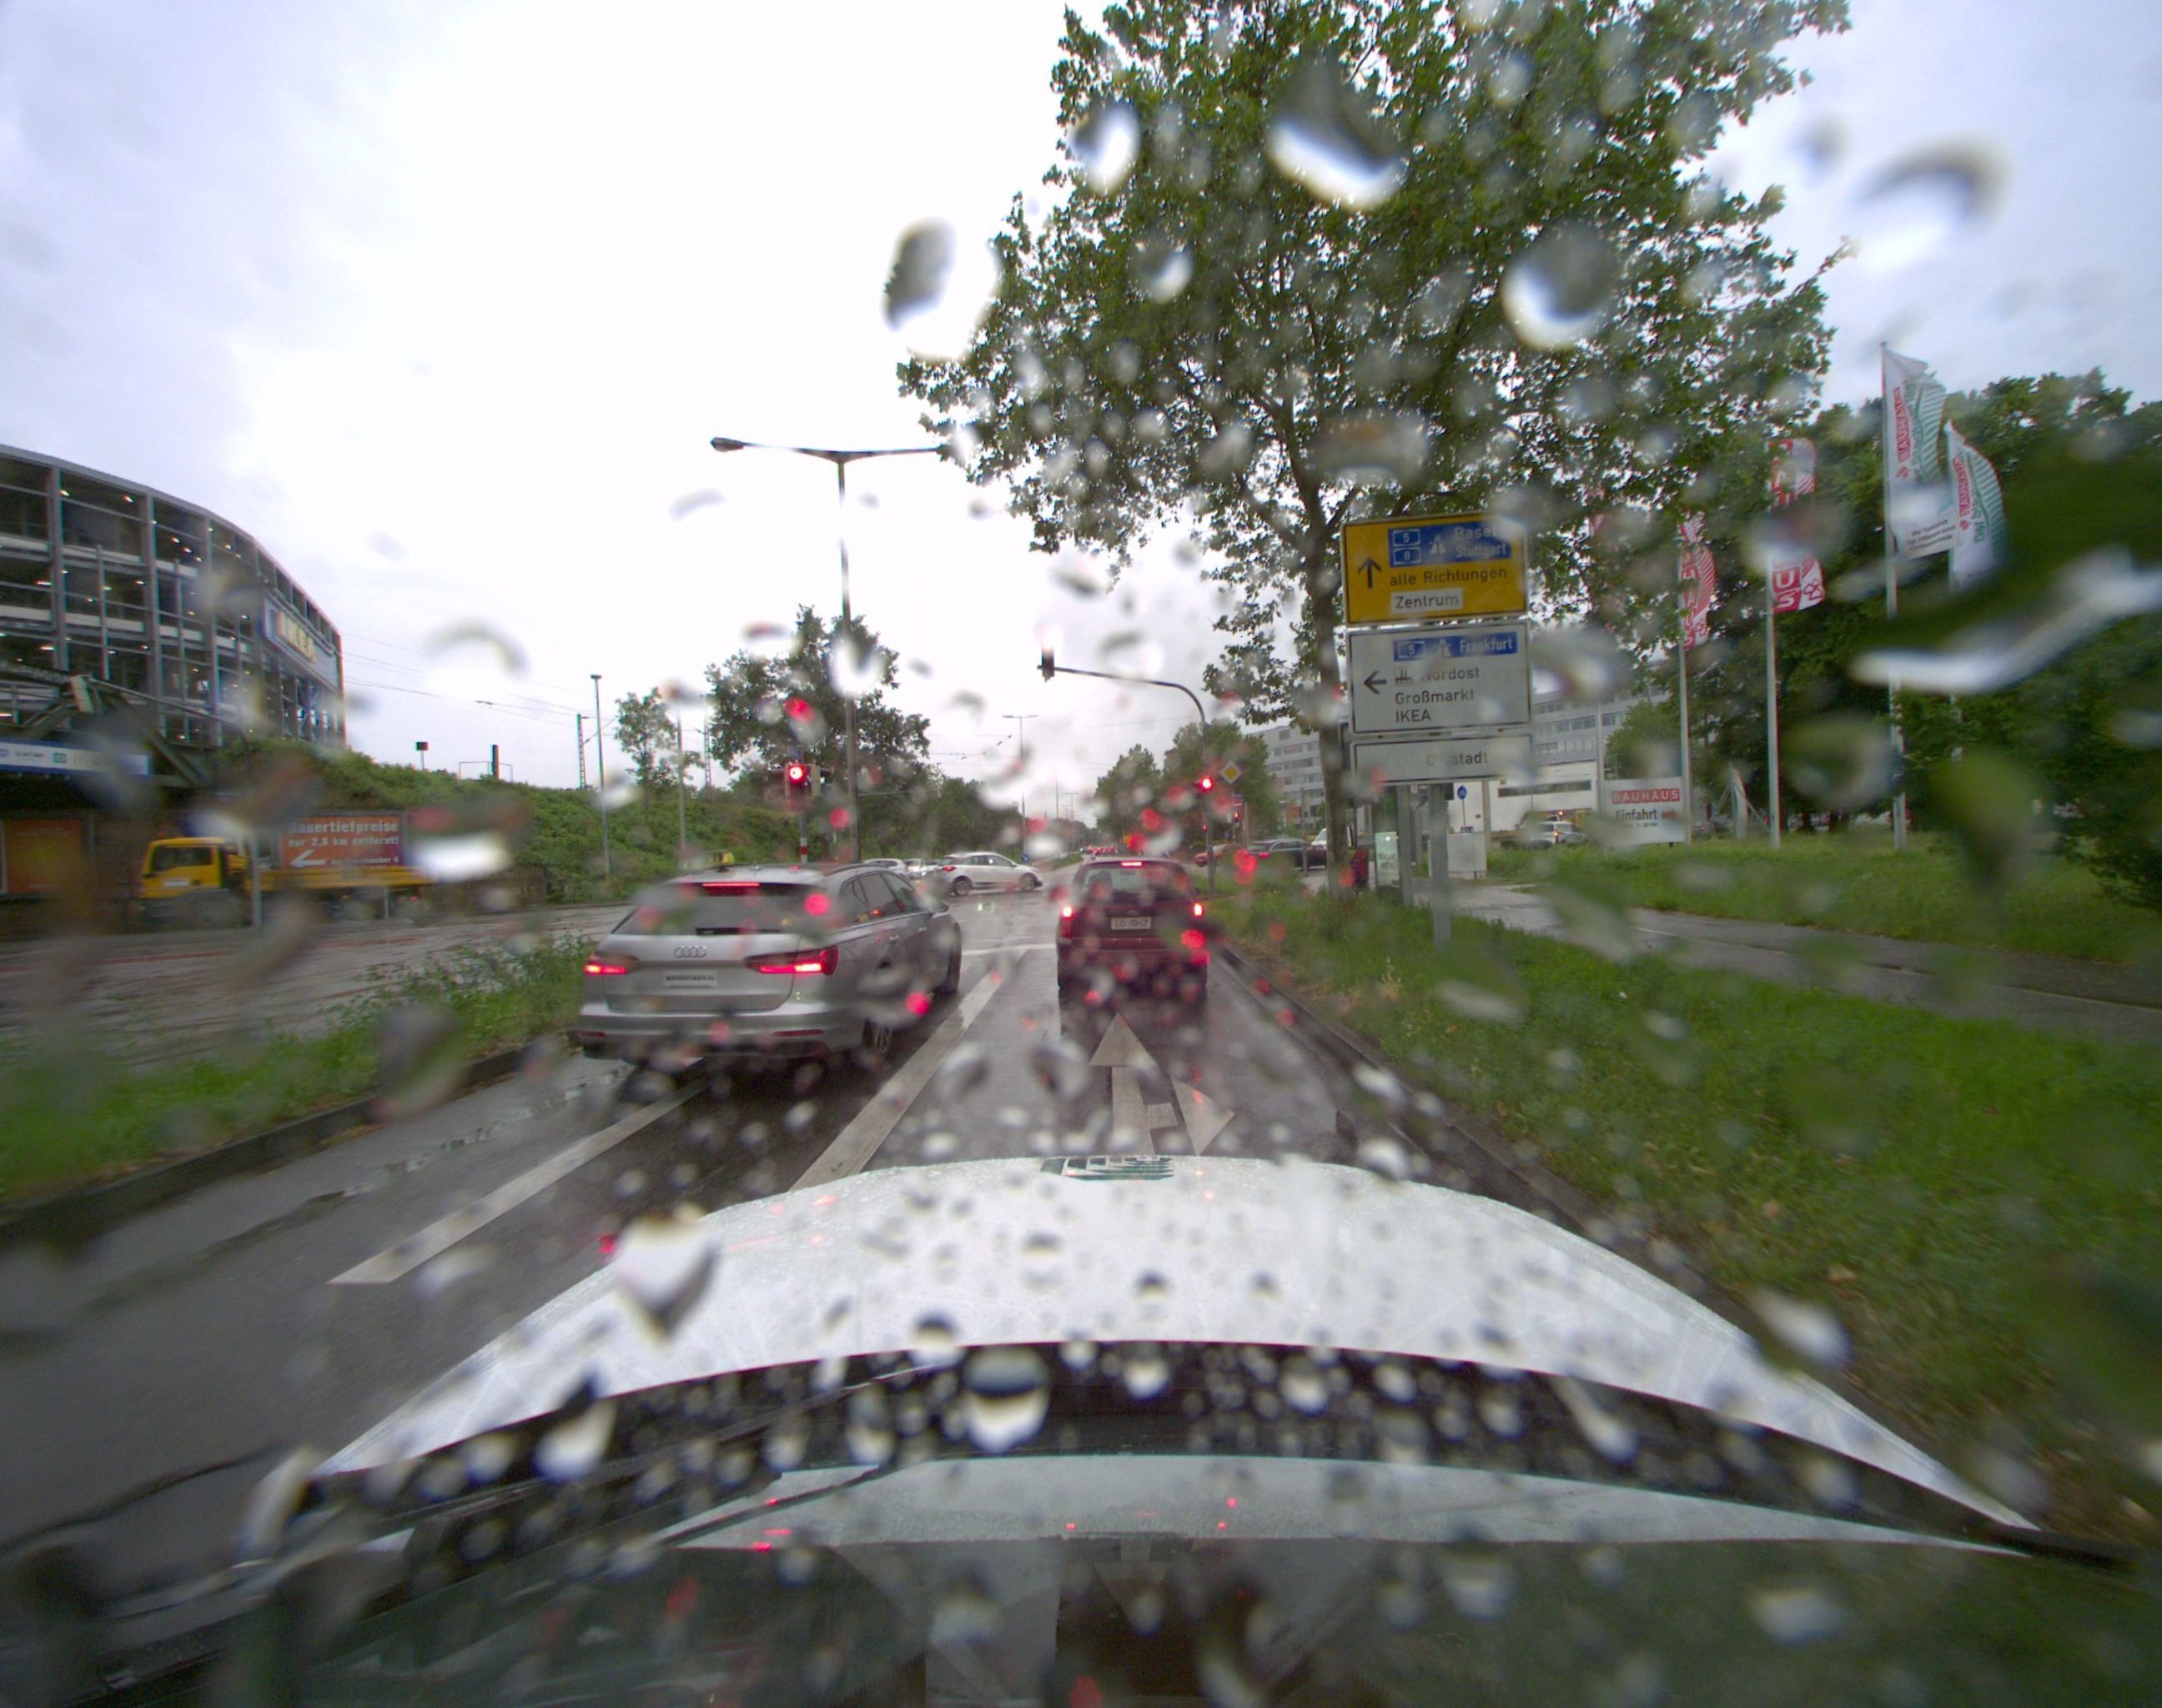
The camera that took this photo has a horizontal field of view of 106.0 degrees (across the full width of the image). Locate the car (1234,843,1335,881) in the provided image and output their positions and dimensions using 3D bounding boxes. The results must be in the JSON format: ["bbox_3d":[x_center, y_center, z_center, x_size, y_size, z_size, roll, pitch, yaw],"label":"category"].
[{"bbox_3d":[9.315,0.345,37.210,4.398,1.537,1.786,-2,0,-28],"label":"car"}]

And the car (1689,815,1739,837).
[{"bbox_3d":[49.486,-2.225,63.647,4.405,1.537,1.783,-2,0,-34],"label":"car"}]

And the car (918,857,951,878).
[{"bbox_3d":[-11.476,1.055,64.107,1.706,1.530,4.002,-2,0,2],"label":"car"}]

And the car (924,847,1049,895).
[{"bbox_3d":[-3.446,0.612,29.880,4.075,1.521,1.981,-2,0,-29],"label":"car"}]

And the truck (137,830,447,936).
[{"bbox_3d":[-25.960,0.832,27.397,7.080,3.054,2.618,-2,0,-36],"label":"truck"}]

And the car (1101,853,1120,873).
[{"bbox_3d":[3.165,0.948,87.421,1.986,2.013,4.002,-3,0,2],"label":"car"}]

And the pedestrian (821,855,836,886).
[{"bbox_3d":[-15.002,0.980,48.319,0.528,1.786,0.676,-1,-1,19],"label":"pedestrian"}]

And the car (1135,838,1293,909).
[{"bbox_3d":[3.771,0.481,22.690,4.409,1.537,1.781,-5,3,-38],"label":"car"}]

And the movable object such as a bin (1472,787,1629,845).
[{"bbox_3d":[58.451,-4.414,102.007,8.296,6.283,14.818,0,-1,-32],"label":"movable object such as a bin"}]

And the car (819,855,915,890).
[{"bbox_3d":[-10.241,0.876,39.036,4.019,1.486,1.798,-2,0,-37],"label":"car"}]

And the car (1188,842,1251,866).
[{"bbox_3d":[9.123,-0.008,53.557,4.018,1.429,1.699,-3,0,-36],"label":"car"}]

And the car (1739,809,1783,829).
[{"bbox_3d":[59.133,-3.033,70.831,4.405,1.537,1.783,-2,0,-35],"label":"car"}]

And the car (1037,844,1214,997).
[{"bbox_3d":[0.522,0.679,10.466,1.789,1.537,4.389,-1,0,2],"label":"car"}]

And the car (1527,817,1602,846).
[{"bbox_3d":[29.002,-1.339,48.797,4.398,1.537,1.786,-2,0,-28],"label":"car"}]

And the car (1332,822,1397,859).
[{"bbox_3d":[19.536,-0.938,55.987,4.405,2.190,1.783,-5,1,-33],"label":"car"}]

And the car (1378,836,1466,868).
[{"bbox_3d":[17.784,-0.096,42.443,4.398,1.537,1.786,-2,0,-28],"label":"car"}]

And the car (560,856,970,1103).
[{"bbox_3d":[-2.223,0.768,7.209,1.684,1.433,4.576,-2,0,2],"label":"car"}]

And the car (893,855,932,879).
[{"bbox_3d":[-11.862,0.905,57.573,1.706,1.530,4.002,-2,0,2],"label":"car"}]
